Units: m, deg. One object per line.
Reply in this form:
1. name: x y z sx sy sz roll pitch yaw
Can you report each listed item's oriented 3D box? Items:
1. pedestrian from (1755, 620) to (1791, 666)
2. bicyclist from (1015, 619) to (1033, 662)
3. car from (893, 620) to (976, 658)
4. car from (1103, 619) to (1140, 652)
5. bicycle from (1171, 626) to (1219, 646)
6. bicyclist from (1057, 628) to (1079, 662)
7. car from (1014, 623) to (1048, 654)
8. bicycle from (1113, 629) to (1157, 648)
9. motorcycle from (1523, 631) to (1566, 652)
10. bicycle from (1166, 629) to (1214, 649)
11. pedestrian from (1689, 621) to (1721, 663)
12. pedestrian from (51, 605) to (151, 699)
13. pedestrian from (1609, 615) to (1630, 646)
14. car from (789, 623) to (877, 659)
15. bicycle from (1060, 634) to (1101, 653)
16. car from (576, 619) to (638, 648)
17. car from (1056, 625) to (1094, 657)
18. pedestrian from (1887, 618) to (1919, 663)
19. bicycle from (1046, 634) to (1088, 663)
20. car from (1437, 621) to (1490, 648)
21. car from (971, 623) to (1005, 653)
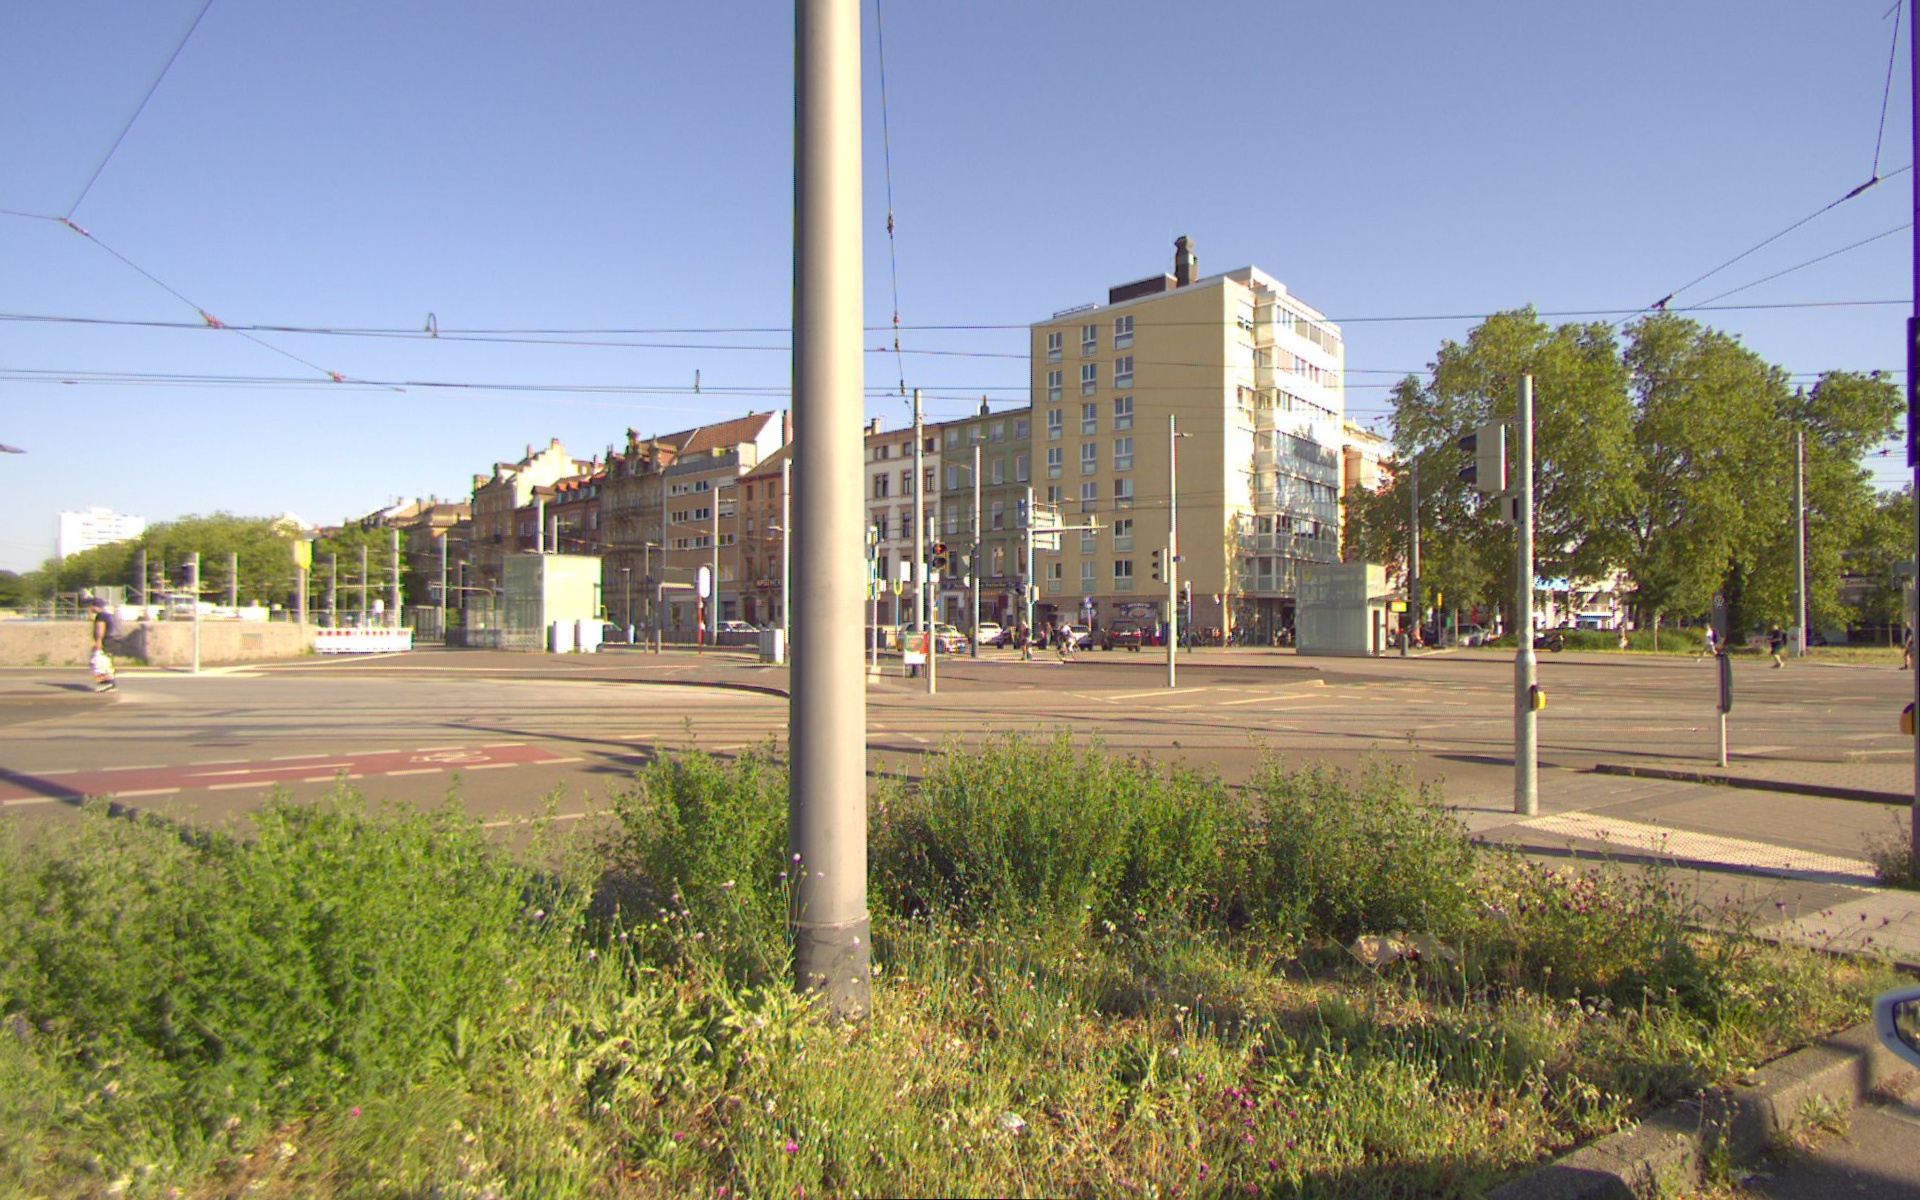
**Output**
1. pedestrian: 31.706 1.672 39.189 0.747 1.728 0.793 2 0 -22
2. bicyclist: 2.634 1.652 41.476 0.653 1.706 0.980 2 0 2
3. car: -1.286 1.881 49.087 3.945 1.684 1.775 1 0 44
4. car: 9.200 1.978 57.494 1.684 1.728 4.001 2 0 4
5. bicycle: 14.883 2.283 63.735 3.003 1.167 0.637 1 0 44
6. bicyclist: 4.372 1.813 40.674 0.617 1.368 0.658 2 0 44
7. car: 4.326 2.315 61.501 1.960 1.728 4.001 2 0 4
8. bicycle: 11.489 2.527 66.111 3.003 1.167 0.637 1 0 44
9. motorcycle: 29.143 2.056 50.110 1.753 0.926 0.676 2 0 41
10. bicycle: 14.454 2.442 63.213 3.003 1.167 0.637 1 0 44
11. pedestrian: 31.919 1.795 43.045 0.747 1.728 0.793 2 0 -22
12. pedestrian: -16.293 0.960 19.075 0.985 1.706 1.042 2 0 -6
13. pedestrian: 38.460 1.775 58.567 0.491 1.716 0.852 2 0 -32
14. car: -6.842 2.156 53.812 4.640 1.684 1.781 2 0 34
15. bicycle: 8.248 2.959 69.096 3.003 1.167 0.637 1 0 44
16. car: -24.918 2.331 70.861 4.837 1.849 1.990 2 0 41
17. car: 6.738 2.376 59.248 1.960 1.728 4.001 2 0 4
18. pedestrian: 37.073 1.597 39.400 0.747 1.728 0.793 2 0 -22
19. bicycle: 4.332 1.958 40.643 0.617 1.104 1.914 2 0 44
20. car: 32.005 2.201 63.811 3.973 1.588 1.753 2 0 -44
21. car: 1.834 2.385 63.965 1.960 1.728 4.001 2 0 4
